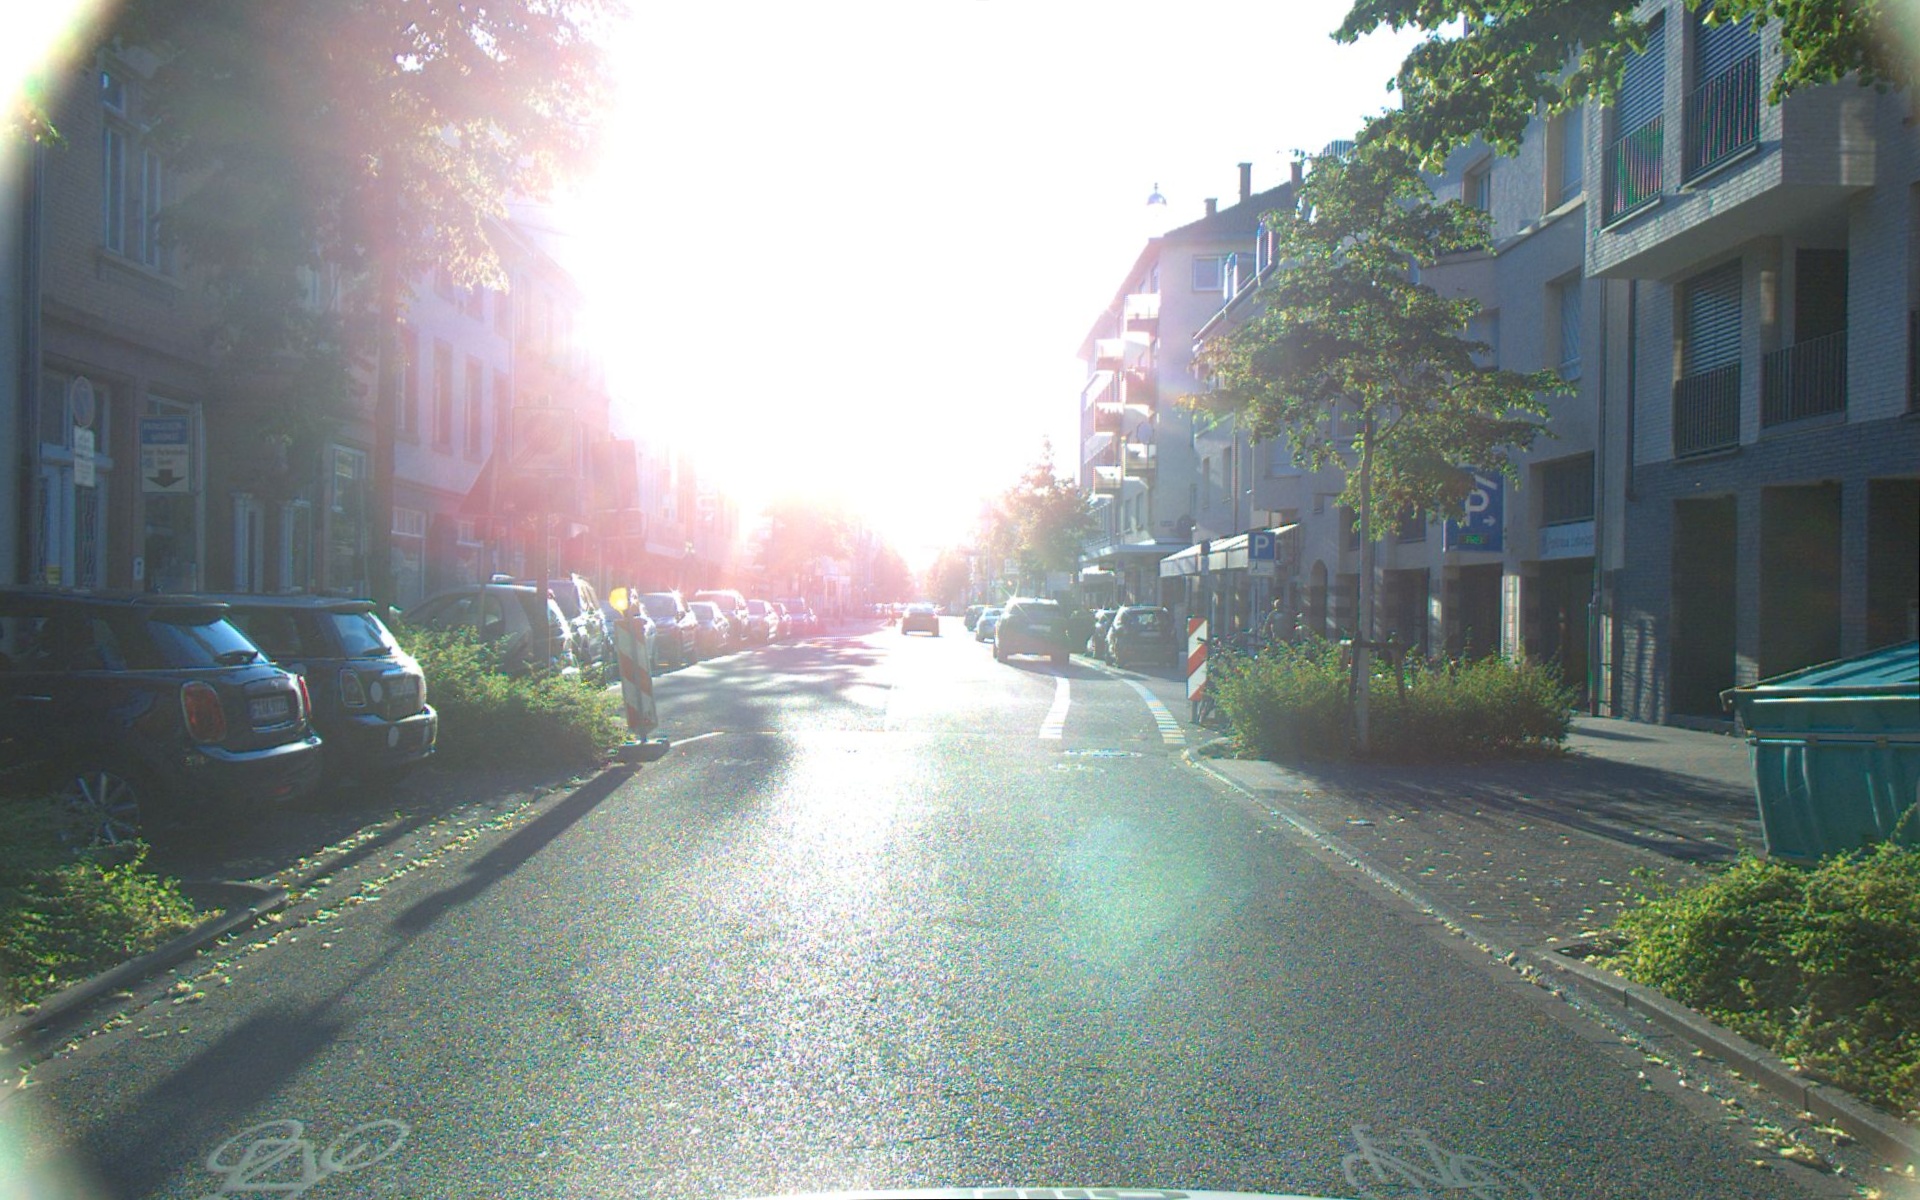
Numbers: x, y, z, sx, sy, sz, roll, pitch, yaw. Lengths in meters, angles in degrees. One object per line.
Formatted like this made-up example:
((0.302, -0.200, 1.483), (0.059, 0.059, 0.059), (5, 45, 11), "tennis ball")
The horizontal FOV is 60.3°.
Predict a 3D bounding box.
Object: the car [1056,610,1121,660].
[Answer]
((3.883, 1.043, 50.475), (1.600, 1.449, 3.756), (0, 0, -2), "car")

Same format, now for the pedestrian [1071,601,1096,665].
((3.303, 0.884, 44.144), (0.436, 1.694, 0.561), (0, 0, -26), "pedestrian")

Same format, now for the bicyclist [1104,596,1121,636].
((6.692, 0.692, 72.629), (0.637, 1.732, 1.095), (0, -1, -2), "bicyclist")

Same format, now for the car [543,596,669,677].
((-7.161, 0.704, 33.825), (1.737, 1.541, 3.949), (1, 0, 0), "car")

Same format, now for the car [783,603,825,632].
((-7.635, 0.846, 81.398), (1.796, 1.351, 4.122), (1, 0, -2), "car")

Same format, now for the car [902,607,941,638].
((-1.872, 1.077, 81.576), (1.845, 1.440, 4.324), (1, 0, -1), "car")

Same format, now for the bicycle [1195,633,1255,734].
((3.124, 0.967, 19.592), (0.374, 1.119, 1.522), (0, 0, -4), "bicycle")

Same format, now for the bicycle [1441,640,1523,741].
((6.142, 1.043, 19.509), (0.374, 1.119, 1.521), (0, 0, -5), "bicycle")

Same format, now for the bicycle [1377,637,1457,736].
((5.539, 1.027, 20.121), (0.374, 1.119, 1.520), (0, 0, -8), "bicycle")

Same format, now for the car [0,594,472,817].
((-5.417, 0.693, 11.796), (3.326, 1.416, 1.687), (1, 0, 1), "car")

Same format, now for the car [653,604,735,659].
((-7.498, 0.852, 46.900), (1.678, 1.466, 4.308), (-1, 0, -1), "car")

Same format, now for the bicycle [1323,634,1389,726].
((5.105, 1.012, 21.388), (0.374, 1.119, 1.522), (1, -1, -4), "bicycle")

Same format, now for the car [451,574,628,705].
((-6.198, 0.553, 24.906), (1.867, 1.759, 4.696), (-1, 0, -6), "car")

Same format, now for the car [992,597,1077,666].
((1.942, 0.811, 44.596), (1.954, 1.684, 4.673), (2, 0, -1), "car")

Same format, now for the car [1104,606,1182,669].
((4.773, 0.955, 43.501), (1.600, 1.581, 2.692), (0, 0, -4), "car")

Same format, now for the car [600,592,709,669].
((-6.975, 0.673, 38.186), (1.737, 1.661, 4.237), (1, 0, 0), "car")

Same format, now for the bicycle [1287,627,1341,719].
((4.592, 0.927, 21.506), (0.374, 1.119, 1.565), (0, 0, 0), "bicycle")

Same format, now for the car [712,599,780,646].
((-7.713, 0.783, 59.942), (1.790, 1.583, 5.135), (-1, 0, 0), "car")

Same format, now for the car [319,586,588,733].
((-5.785, 0.646, 19.130), (2.641, 1.547, 1.570), (-1, 1, -5), "car")

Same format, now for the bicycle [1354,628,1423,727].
((5.547, 0.985, 21.469), (0.374, 1.210, 1.521), (1, -1, -5), "bicycle")

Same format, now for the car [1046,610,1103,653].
((3.993, 1.087, 58.130), (1.668, 1.461, 3.931), (0, 0, -1), "car")

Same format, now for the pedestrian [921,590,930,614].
((-2.515, 0.147, 120.627), (0.488, 1.745, 0.459), (1, 0, -21), "pedestrian")

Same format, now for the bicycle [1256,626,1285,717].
((4.076, 0.921, 21.716), (0.363, 1.127, 1.524), (0, 0, 10), "bicycle")

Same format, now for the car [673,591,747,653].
((-7.985, 0.672, 53.203), (1.791, 1.842, 5.345), (-1, 0, -3), "car")

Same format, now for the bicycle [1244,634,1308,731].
((3.768, 0.963, 19.809), (0.374, 1.119, 1.522), (0, -1, -4), "bicycle")

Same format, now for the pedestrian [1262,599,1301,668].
((7.841, 0.815, 40.362), (0.794, 1.675, 0.606), (-1, -1, -1), "pedestrian")

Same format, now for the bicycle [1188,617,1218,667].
((6.296, 1.080, 42.866), (0.389, 1.256, 1.824), (0, 0, -3), "bicycle")

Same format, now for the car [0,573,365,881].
((-5.621, 0.623, 9.343), (3.813, 1.544, 1.857), (1, 0, -1), "car")

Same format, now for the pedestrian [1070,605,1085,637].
((5.964, 1.062, 83.822), (0.674, 1.586, 0.862), (0, -1, -1), "pedestrian")

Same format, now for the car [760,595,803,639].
((-8.077, 0.767, 75.012), (1.797, 1.887, 4.120), (1, -1, -4), "car")

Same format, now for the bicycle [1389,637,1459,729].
((5.970, 1.050, 21.335), (0.374, 1.119, 1.521), (0, -1, -5), "bicycle")

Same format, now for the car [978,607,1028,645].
((1.765, 1.067, 69.320), (1.883, 1.439, 4.547), (3, 0, -1), "car")

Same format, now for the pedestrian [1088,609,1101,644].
((6.822, 1.352, 83.847), (0.673, 1.752, 0.717), (0, -1, 5), "pedestrian")

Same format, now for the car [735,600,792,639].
((-7.797, 0.772, 65.978), (1.790, 1.464, 4.552), (-2, 0, -1), "car")
